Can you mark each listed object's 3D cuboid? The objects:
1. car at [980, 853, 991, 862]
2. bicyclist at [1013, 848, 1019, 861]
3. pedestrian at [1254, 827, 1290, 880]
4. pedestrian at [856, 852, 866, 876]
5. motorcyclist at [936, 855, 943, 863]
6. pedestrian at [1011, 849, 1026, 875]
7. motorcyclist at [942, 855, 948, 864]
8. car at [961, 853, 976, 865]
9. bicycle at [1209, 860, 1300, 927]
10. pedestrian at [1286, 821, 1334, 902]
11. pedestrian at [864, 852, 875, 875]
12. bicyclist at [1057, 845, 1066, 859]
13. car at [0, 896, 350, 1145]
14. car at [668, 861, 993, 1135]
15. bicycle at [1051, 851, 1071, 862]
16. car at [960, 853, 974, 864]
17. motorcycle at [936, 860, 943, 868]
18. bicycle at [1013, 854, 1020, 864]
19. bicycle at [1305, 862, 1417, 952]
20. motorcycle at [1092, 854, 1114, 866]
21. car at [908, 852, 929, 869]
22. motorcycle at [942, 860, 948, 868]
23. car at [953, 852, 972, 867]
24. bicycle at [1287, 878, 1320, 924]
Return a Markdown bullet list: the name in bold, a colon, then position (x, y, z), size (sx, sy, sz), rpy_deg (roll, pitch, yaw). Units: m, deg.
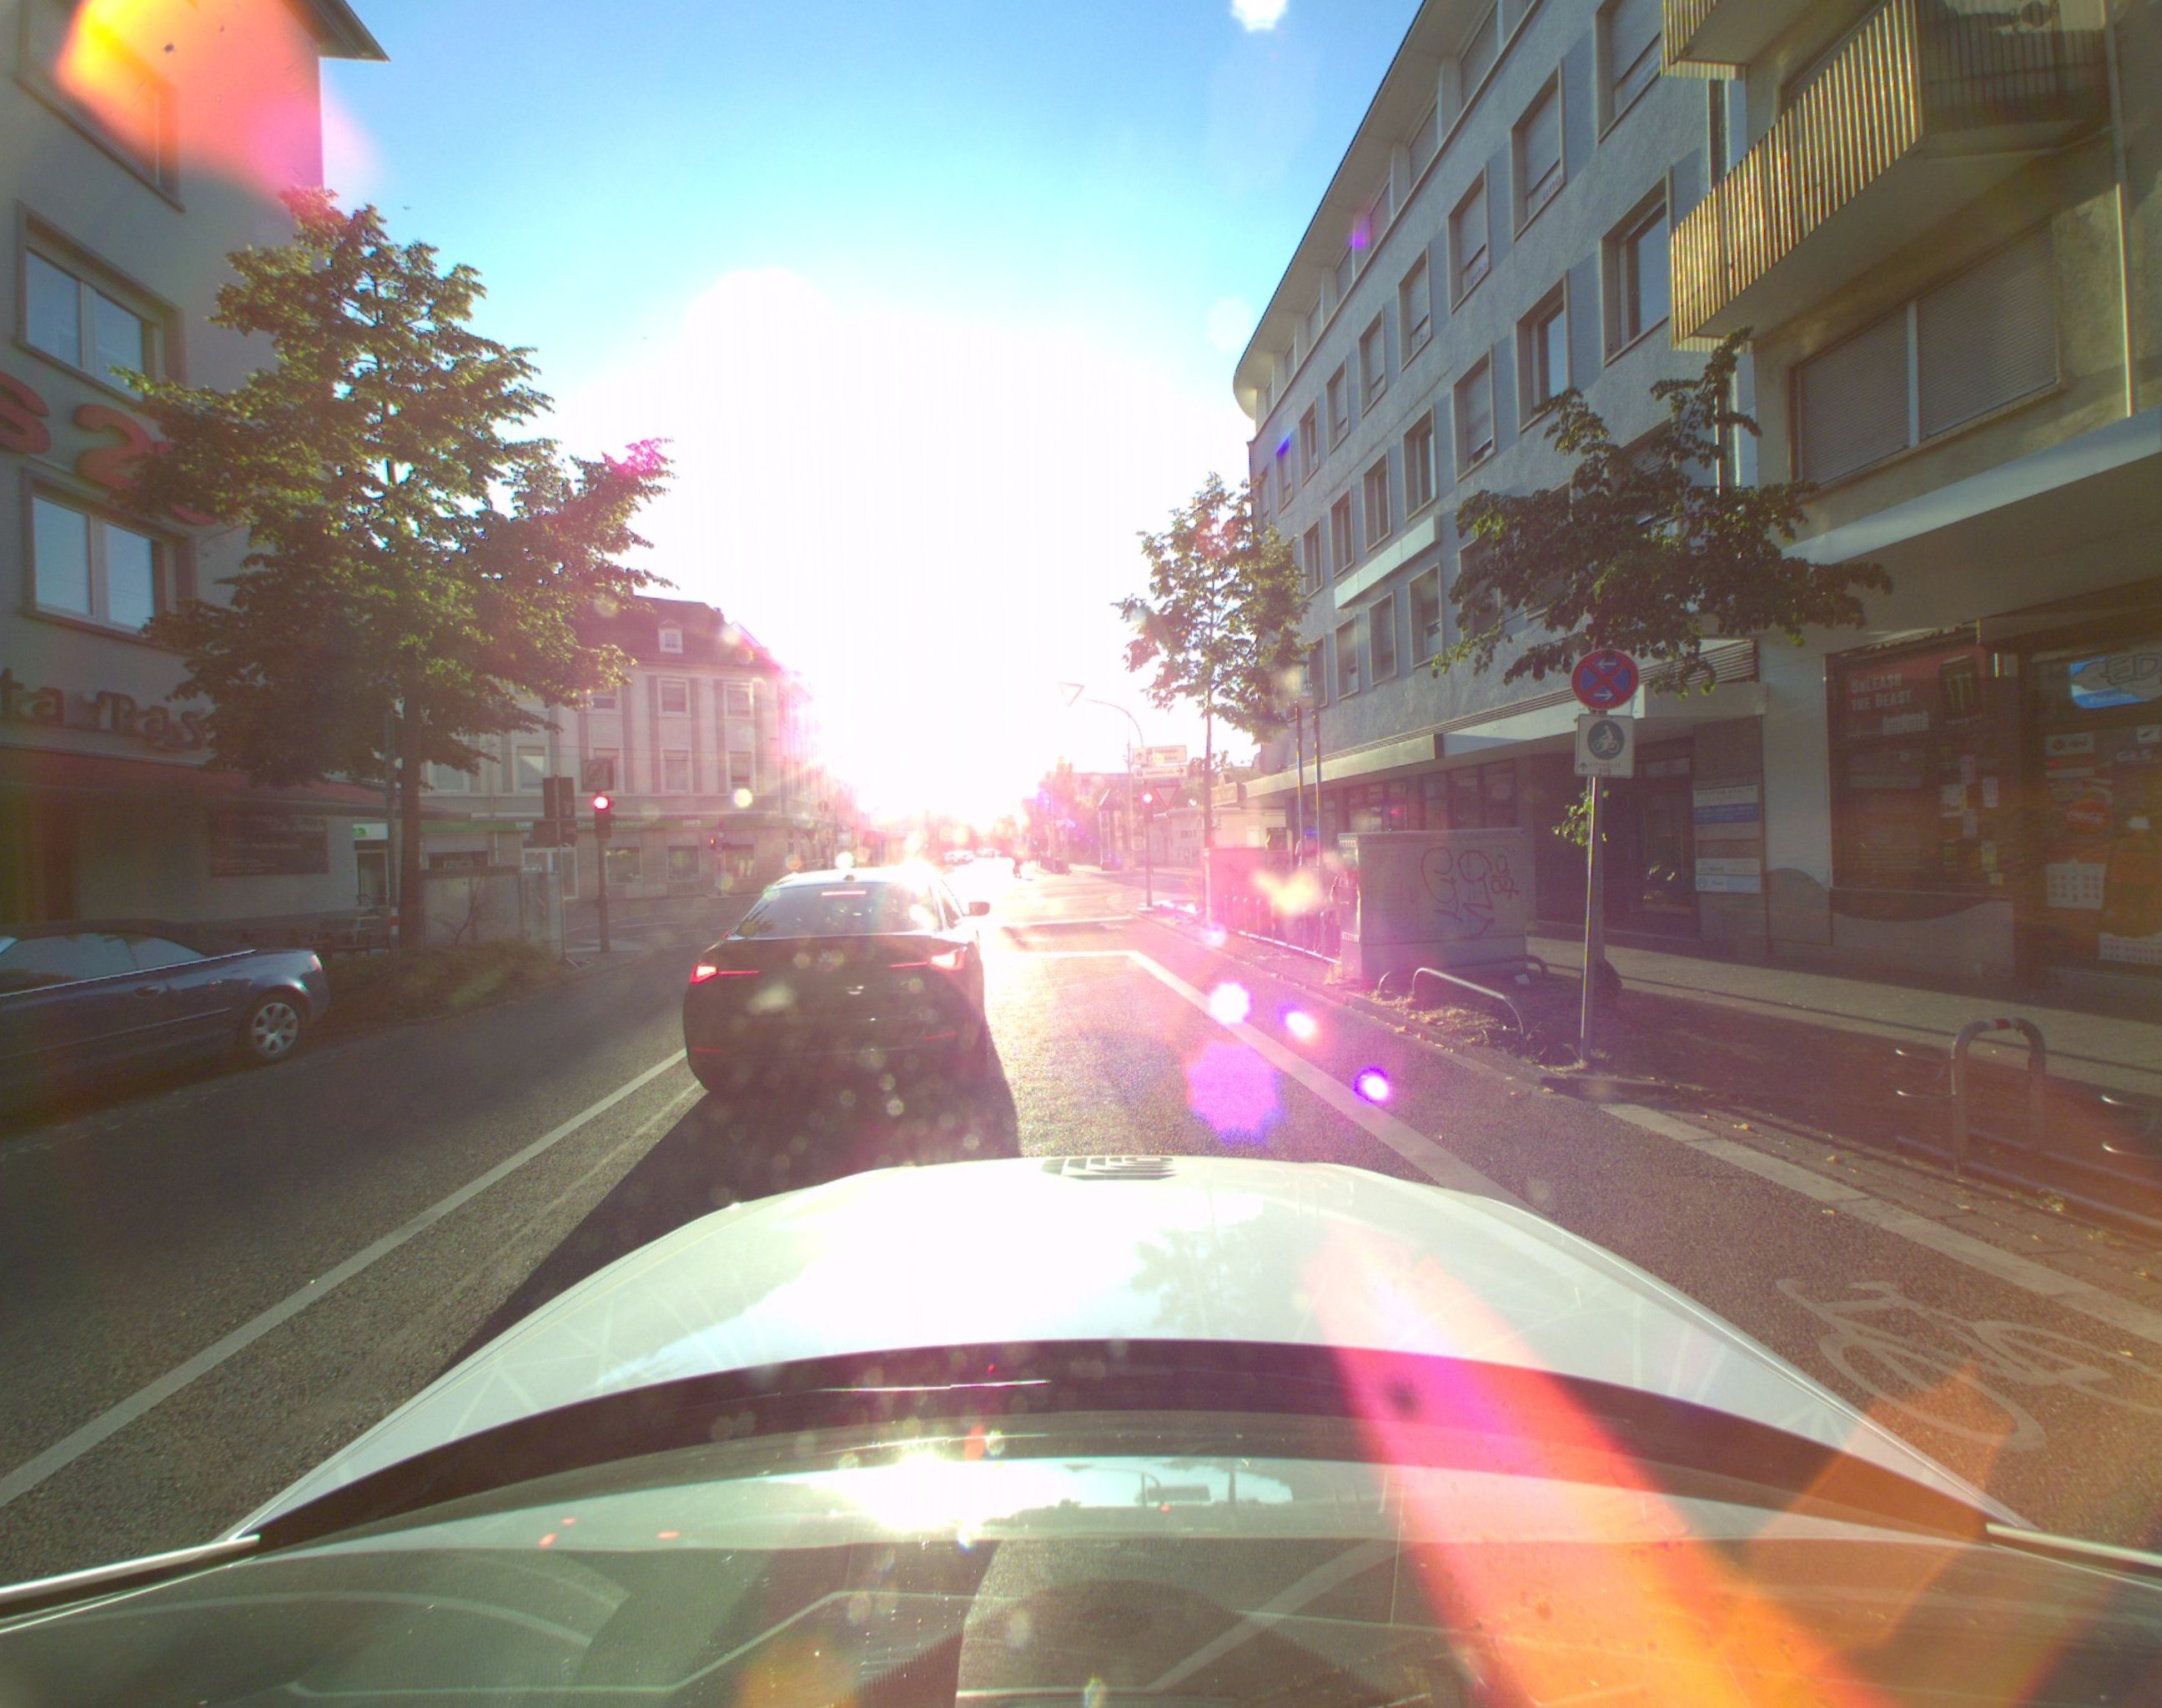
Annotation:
- **car**: position (-17.750, 0.576, 151.411), size (1.816, 1.519, 3.992), rpy_deg (-2, 0, -6)
- **bicyclist**: position (-7.782, 0.071, 97.470), size (0.550, 1.481, 0.719), rpy_deg (-1, -1, -12)
- **pedestrian**: position (7.025, -0.019, 29.933), size (1.007, 1.860, 0.634), rpy_deg (-5, 1, -27)
- **pedestrian**: position (-17.381, 0.776, 64.385), size (0.642, 1.876, 0.630), rpy_deg (0, 0, -7)
- **motorcyclist**: position (-16.243, 0.617, 93.431), size (0.574, 0.915, 2.196), rpy_deg (0, 0, -6)
- **pedestrian**: position (-3.766, 0.468, 49.102), size (0.736, 1.529, 0.469), rpy_deg (0, 0, -23)
- **motorcyclist**: position (-15.347, 0.610, 91.796), size (0.574, 0.995, 0.701), rpy_deg (0, 0, -6)
- **car**: position (-15.797, 0.647, 114.383), size (1.816, 1.519, 3.992), rpy_deg (-2, 0, -6)
- **bicycle**: position (3.236, 0.731, 15.211), size (1.610, 1.171, 0.318), rpy_deg (-2, 0, -5)
- **pedestrian**: position (5.376, 0.166, 19.181), size (0.834, 1.841, 0.677), rpy_deg (-2, 0, -6)
- **pedestrian**: position (-16.910, 0.772, 65.183), size (0.673, 1.876, 0.619), rpy_deg (0, 0, 5)
- **bicyclist**: position (-2.152, -0.195, 88.843), size (0.879, 1.505, 0.613), rpy_deg (0, 0, 5)
- **car**: position (-7.635, 1.157, 5.542), size (1.721, 1.415, 4.270), rpy_deg (-4, 0, -7)
- **car**: position (-1.641, 0.804, 6.657), size (1.735, 1.428, 4.213), rpy_deg (-1, 0, -7)
- **bicycle**: position (-2.175, 0.266, 88.854), size (2.202, 1.202, 0.621), rpy_deg (0, 0, 4)
- **car**: position (-17.310, 0.647, 123.861), size (1.816, 1.519, 3.992), rpy_deg (-2, 0, -6)
- **motorcycle**: position (-16.250, 1.148, 93.511), size (0.574, 0.915, 2.196), rpy_deg (0, 0, -6)
- **bicycle**: position (-7.757, 0.558, 97.387), size (0.550, 1.159, 2.135), rpy_deg (-1, -1, -12)
- **bicycle**: position (3.889, 0.724, 11.342), size (1.438, 1.220, 0.383), rpy_deg (0, 0, -5)
- **motorcycle**: position (1.820, 0.508, 67.986), size (1.673, 0.939, 0.851), rpy_deg (-2, 0, -18)
- **car**: position (-17.488, 0.674, 87.719), size (1.816, 1.788, 3.992), rpy_deg (-2, 0, -6)
- **motorcycle**: position (-15.354, 1.141, 91.895), size (0.574, 0.915, 2.196), rpy_deg (0, 0, -6)
- **car**: position (-13.465, 0.628, 92.645), size (1.816, 1.519, 3.992), rpy_deg (-2, 0, -6)
- **bicycle**: position (4.189, 0.875, 15.367), size (0.249, 0.796, 1.114), rpy_deg (0, 0, -3)
